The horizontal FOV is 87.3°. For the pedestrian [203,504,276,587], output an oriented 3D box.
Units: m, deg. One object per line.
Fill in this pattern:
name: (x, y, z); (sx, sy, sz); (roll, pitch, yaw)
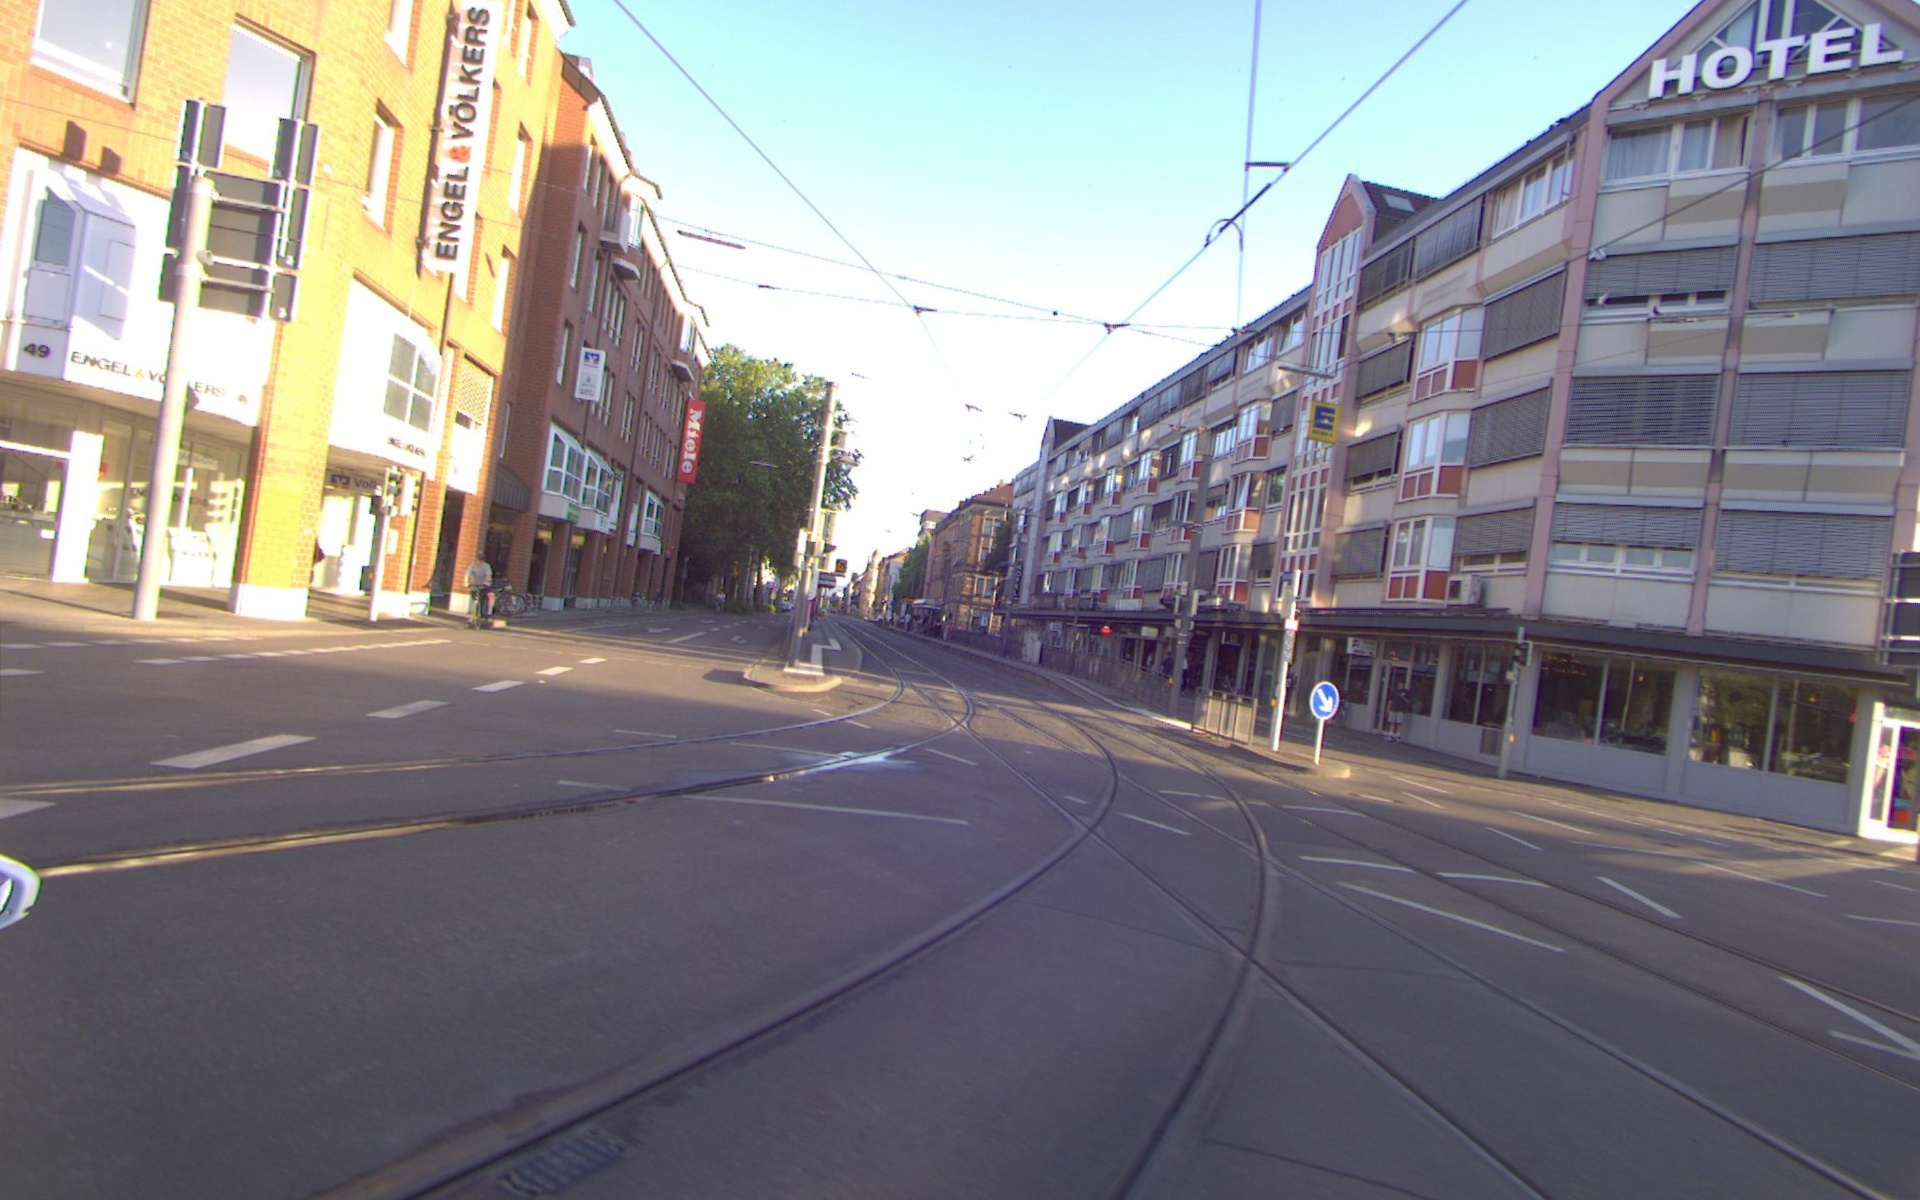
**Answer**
pedestrian: (-16.950, -1.271, 23.676); (0.800, 1.772, 0.929); (10, 0, -7)

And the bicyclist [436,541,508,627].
bicyclist: (-12.020, -0.383, 24.849); (0.999, 1.881, 1.232); (11, -1, -11)

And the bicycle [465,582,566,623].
bicycle: (-13.933, 0.089, 31.606); (2.696, 0.873, 0.811); (9, -1, -12)

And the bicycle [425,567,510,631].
bicycle: (-12.076, -0.023, 24.796); (1.002, 1.305, 2.791); (12, -2, -11)

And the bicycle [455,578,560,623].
bicycle: (-13.688, 0.029, 30.482); (2.693, 0.983, 0.812); (8, -1, -9)

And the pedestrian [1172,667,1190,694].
pedestrian: (9.929, 3.625, 45.186); (0.468, 1.141, 0.472); (8, 0, -36)

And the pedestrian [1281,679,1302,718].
pedestrian: (11.409, 3.393, 34.578); (0.469, 1.261, 0.472); (8, 0, 25)

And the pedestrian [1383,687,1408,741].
pedestrian: (12.799, 3.339, 29.572); (0.469, 1.511, 0.472); (8, 0, 25)

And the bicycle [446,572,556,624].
bicycle: (-13.461, -0.050, 29.575); (2.693, 1.115, 0.811); (8, -1, -8)
